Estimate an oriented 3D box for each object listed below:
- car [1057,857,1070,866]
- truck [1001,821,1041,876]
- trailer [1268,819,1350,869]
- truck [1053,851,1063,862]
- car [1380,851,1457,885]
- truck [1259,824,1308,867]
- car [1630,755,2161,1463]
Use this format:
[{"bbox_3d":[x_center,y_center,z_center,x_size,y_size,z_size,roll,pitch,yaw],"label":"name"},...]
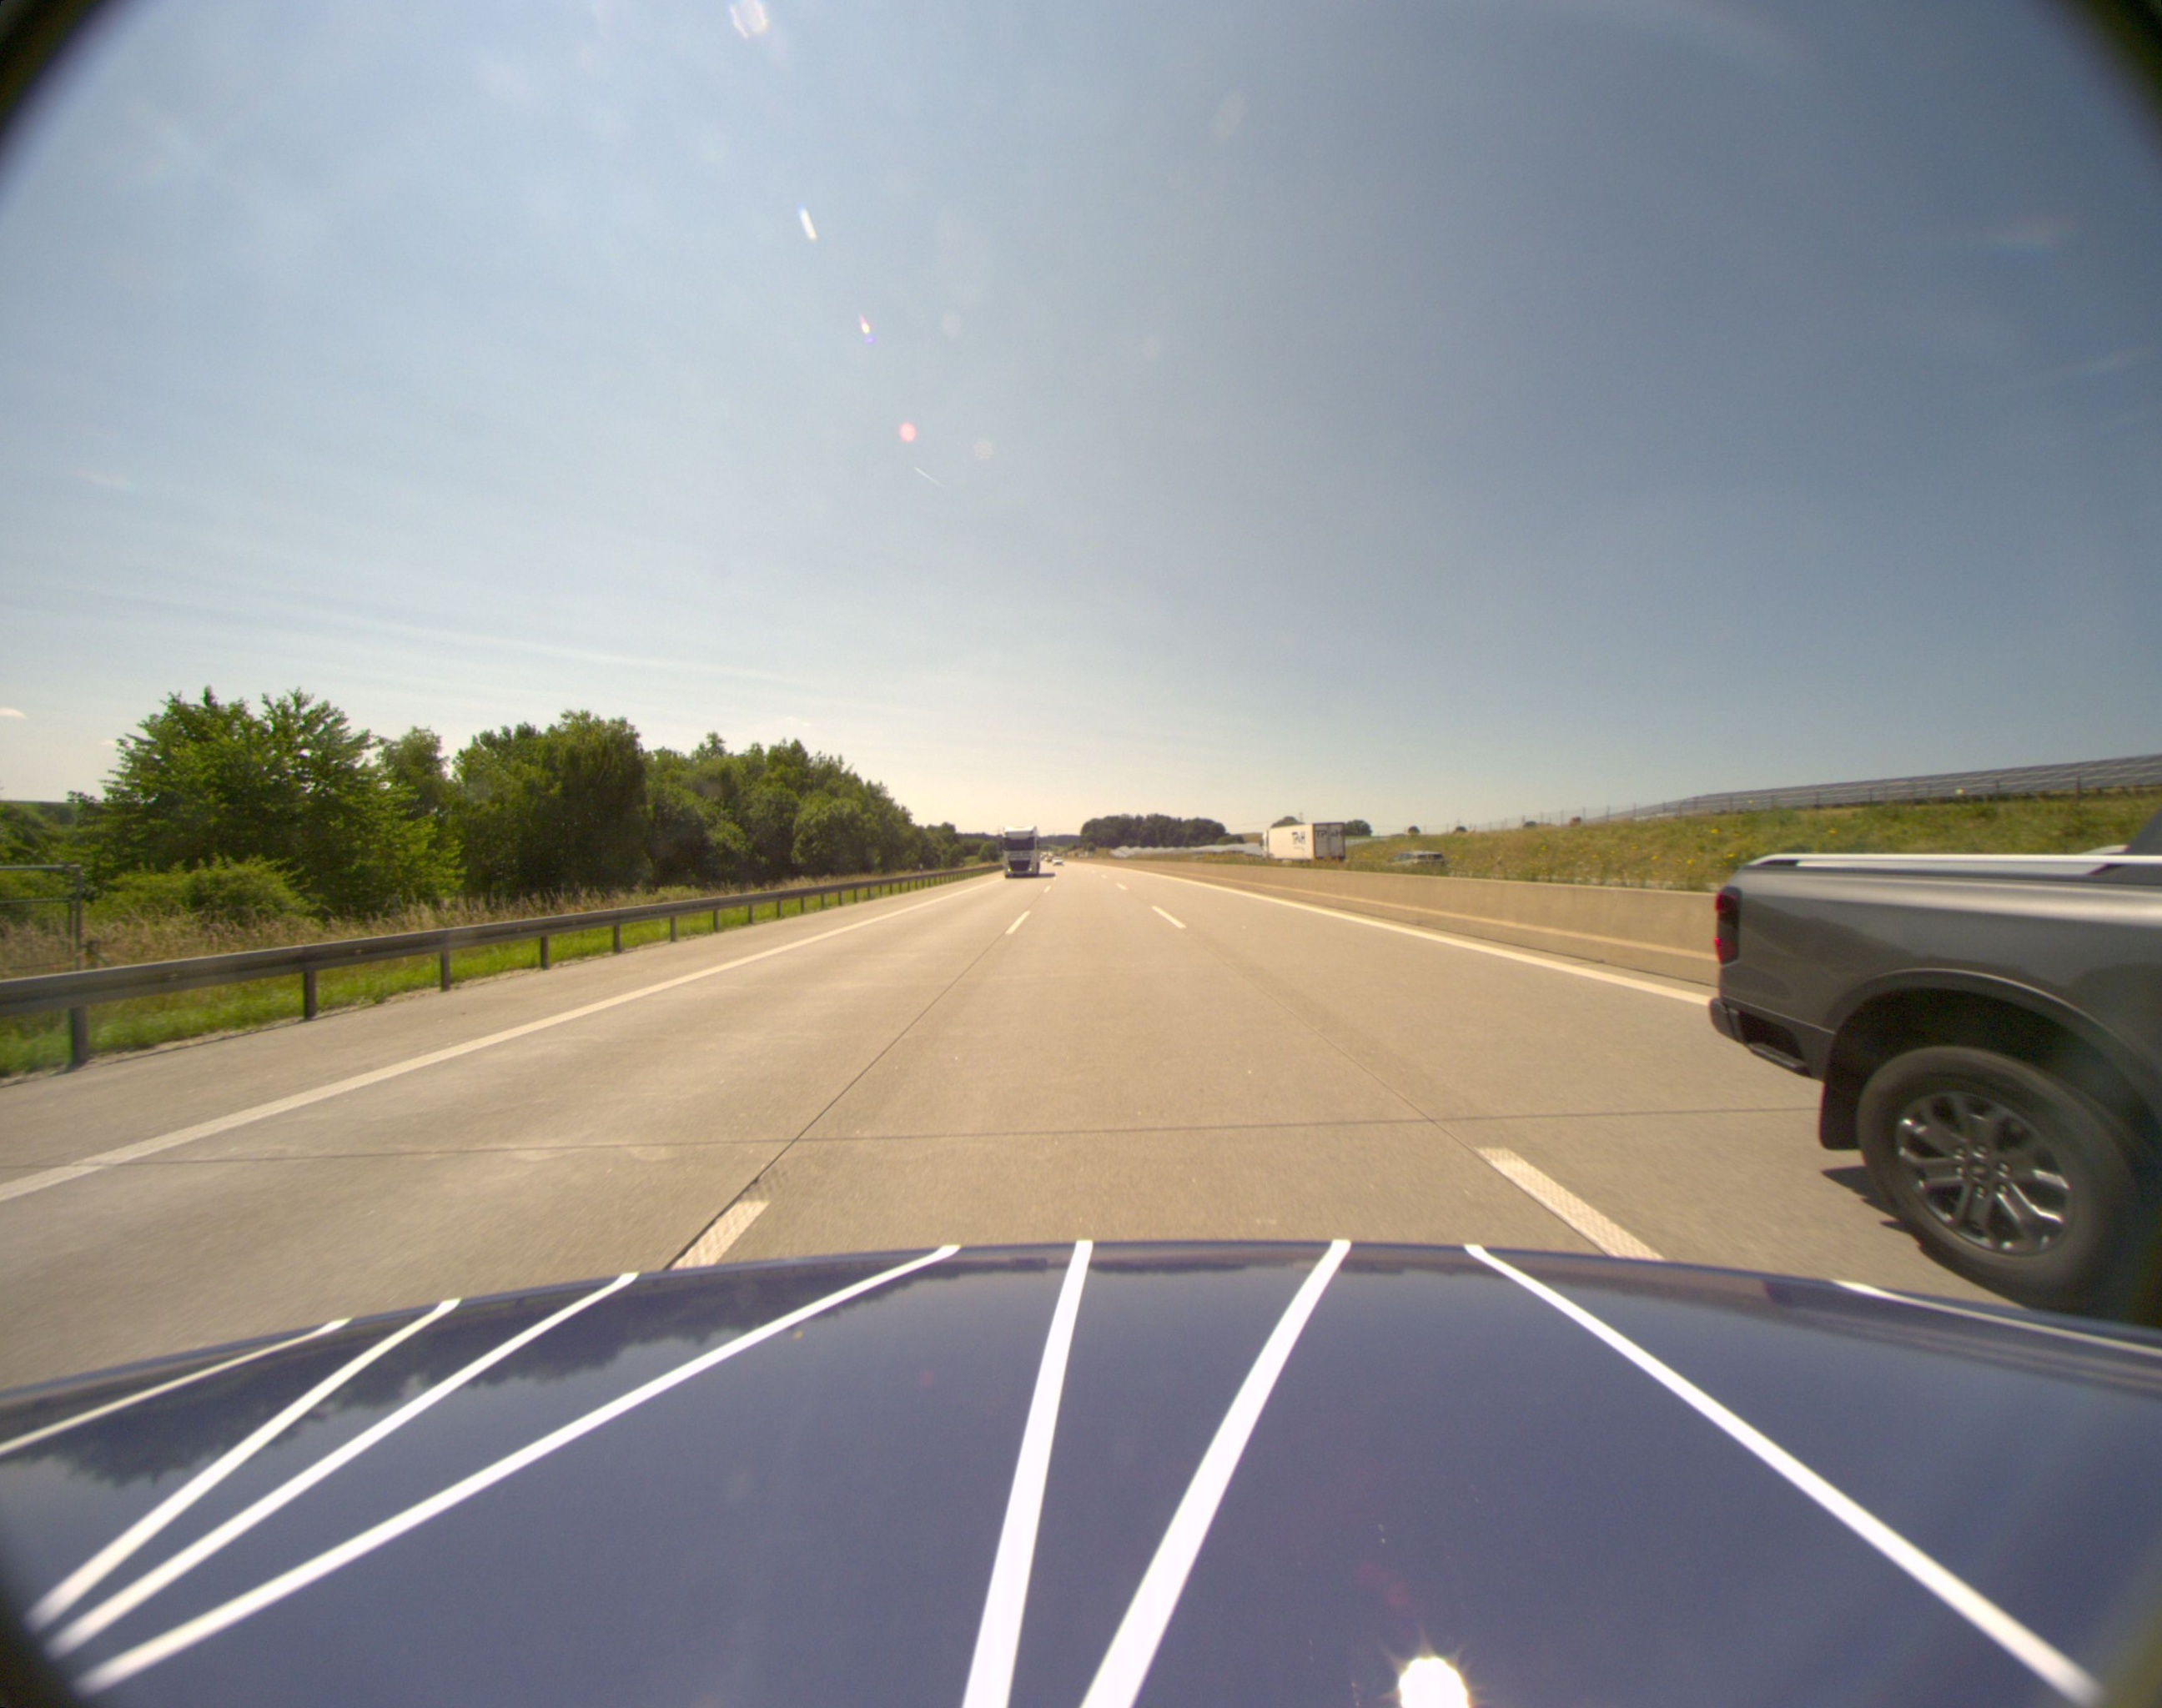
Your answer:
[{"bbox_3d":[-3.081,1.223,131.558,2.065,1.472,5.067,-2,0,-4],"label":"car"},{"bbox_3d":[-4.718,-0.405,60.428,2.820,4.064,5.796,-2,0,-2],"label":"truck"},{"bbox_3d":[20.164,-0.830,68.532,3.013,4.036,14.176,-1,0,0],"label":"trailer"},{"bbox_3d":[-5.646,0.568,187.395,2.263,2.461,6.612,-2,0,-3],"label":"truck"},{"bbox_3d":[16.639,0.642,37.726,1.730,1.575,4.644,-1,0,0],"label":"car"},{"bbox_3d":[20.127,-0.852,75.984,2.998,4.037,6.868,-1,0,0],"label":"truck"},{"bbox_3d":[3.741,0.633,0.573,1.998,1.835,6.529,-2,0,1],"label":"car"}]
